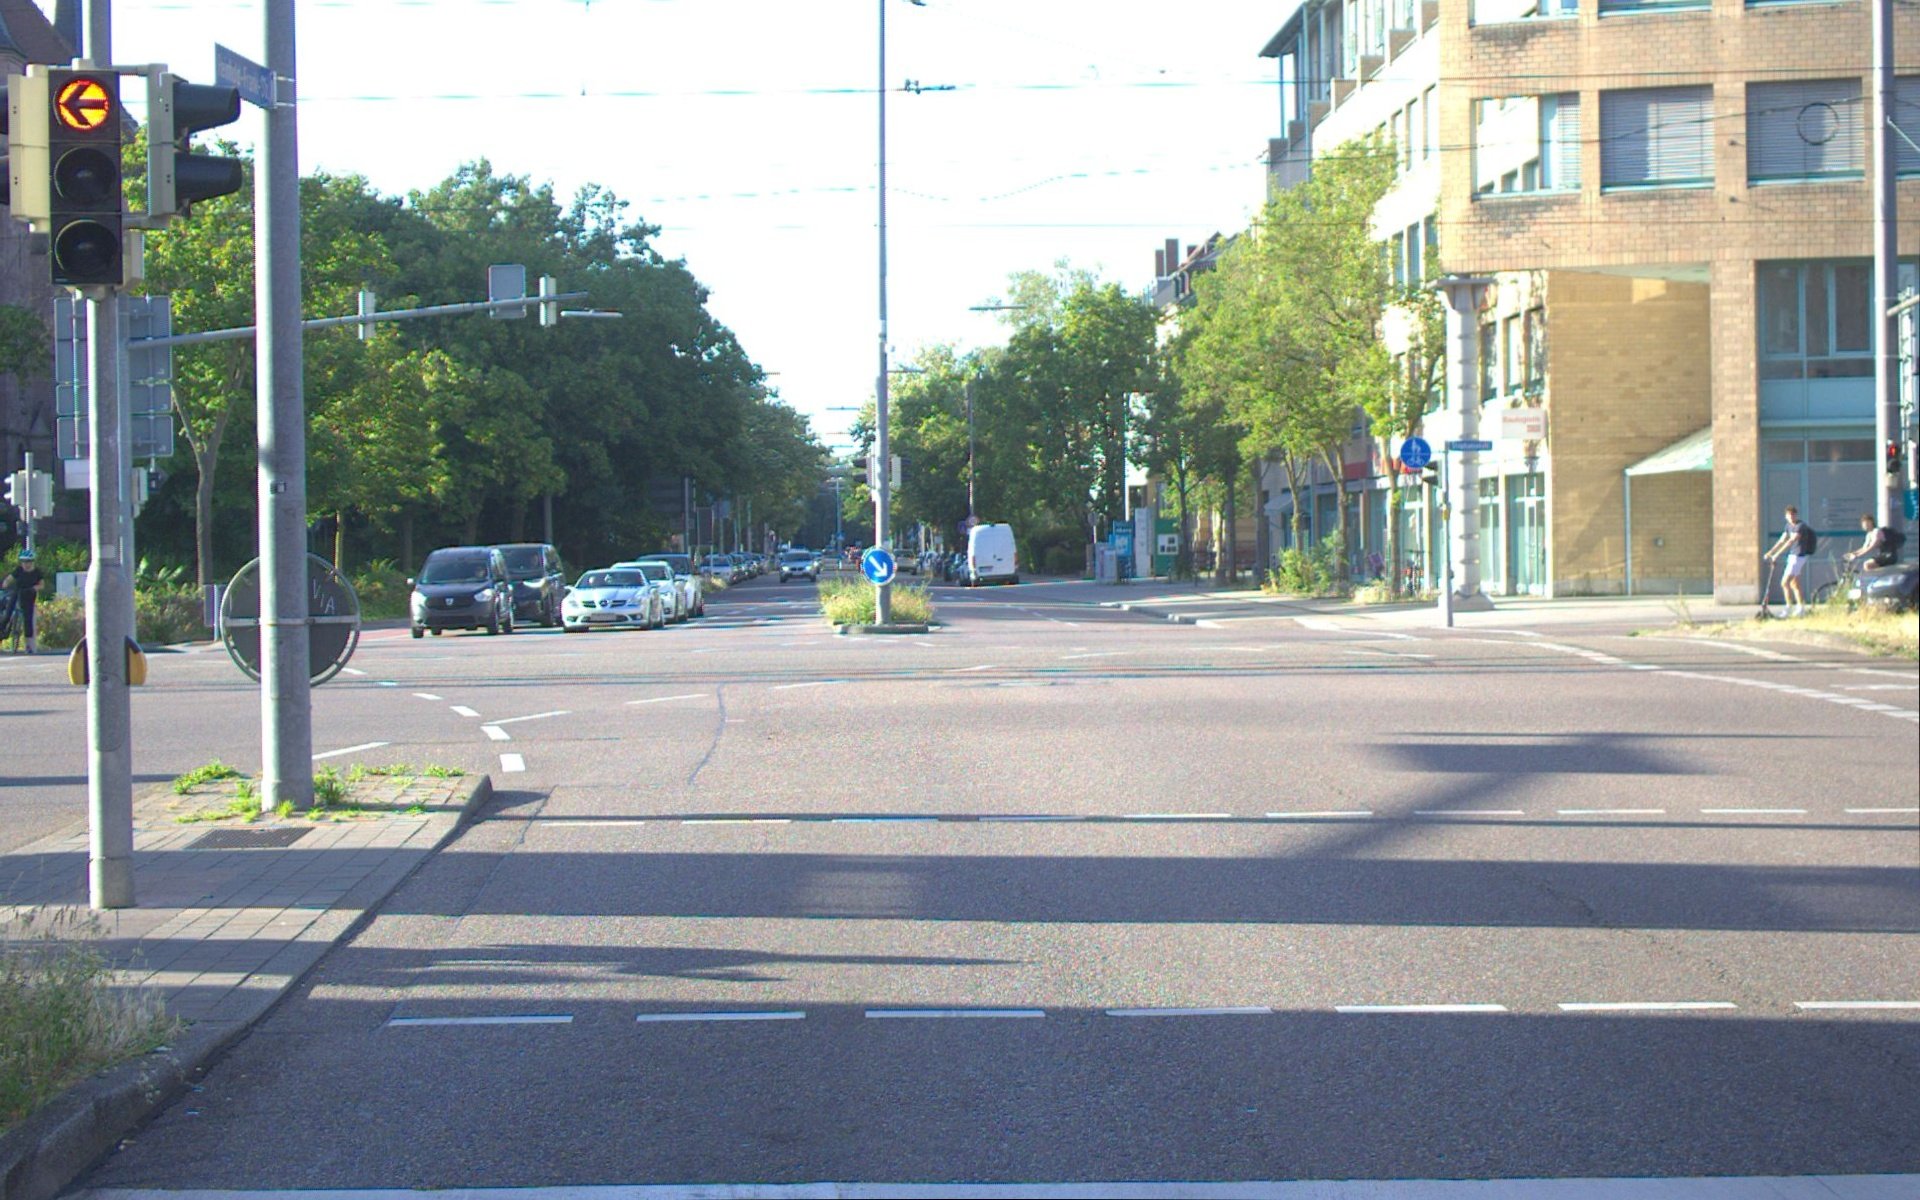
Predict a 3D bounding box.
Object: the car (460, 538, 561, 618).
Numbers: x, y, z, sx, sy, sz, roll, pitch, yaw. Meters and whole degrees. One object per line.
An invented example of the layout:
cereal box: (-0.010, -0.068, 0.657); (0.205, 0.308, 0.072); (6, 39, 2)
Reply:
car: (-10.050, -0.516, 77.095); (1.780, 1.698, 4.000); (-1, 1, -1)

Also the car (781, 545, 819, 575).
car: (-7.960, -1.998, 171.351); (1.780, 1.444, 4.000); (-1, 1, -1)

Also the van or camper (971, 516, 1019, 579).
van or camper: (1.502, -2.308, 149.168); (1.993, 2.631, 5.351); (-1, 1, 0)

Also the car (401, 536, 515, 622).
car: (-10.141, -0.445, 69.691); (1.780, 1.641, 4.000); (-1, 1, -1)

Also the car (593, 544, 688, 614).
car: (-7.011, -0.489, 75.790); (1.780, 1.459, 4.000); (-1, 1, -1)

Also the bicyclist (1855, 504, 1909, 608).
bicyclist: (15.459, -0.743, 57.640); (0.790, 1.730, 0.475); (-1, 1, 5)

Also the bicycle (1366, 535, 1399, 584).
bicycle: (10.722, -1.033, 87.258); (0.773, 1.191, 2.464); (-1, 1, 6)

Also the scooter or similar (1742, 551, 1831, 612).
scooter or similar: (14.074, -0.316, 58.542); (1.401, 0.998, 0.475); (-1, 1, 5)

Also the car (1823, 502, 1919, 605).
car: (16.363, -0.779, 54.826); (4.646, 1.592, 2.000); (-1, 1, -4)

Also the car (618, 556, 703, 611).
car: (-7.213, -0.419, 83.087); (1.780, 1.232, 4.000); (-1, 1, -1)

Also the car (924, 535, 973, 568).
car: (-0.614, -2.481, 174.304); (1.993, 1.587, 4.001); (-1, 1, -7)

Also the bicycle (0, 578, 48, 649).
bicycle: (-15.783, 0.209, 57.015); (0.645, 1.135, 1.679); (-2, 2, -38)

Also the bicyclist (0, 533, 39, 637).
bicyclist: (-15.738, -0.251, 56.937); (0.639, 1.688, 0.782); (-2, 1, -38)

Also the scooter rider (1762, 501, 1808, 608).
scooter rider: (14.045, -0.780, 58.537); (0.680, 1.808, 0.475); (-1, 1, 5)

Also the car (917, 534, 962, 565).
car: (-1.094, -2.644, 179.964); (1.993, 1.587, 4.001); (-1, 1, -5)

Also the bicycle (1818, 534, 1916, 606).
bicycle: (15.217, -0.502, 57.667); (1.520, 1.168, 0.475); (-1, 1, 5)

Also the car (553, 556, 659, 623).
car: (-7.091, -0.226, 69.216); (1.780, 1.232, 4.000); (-1, 1, -1)
